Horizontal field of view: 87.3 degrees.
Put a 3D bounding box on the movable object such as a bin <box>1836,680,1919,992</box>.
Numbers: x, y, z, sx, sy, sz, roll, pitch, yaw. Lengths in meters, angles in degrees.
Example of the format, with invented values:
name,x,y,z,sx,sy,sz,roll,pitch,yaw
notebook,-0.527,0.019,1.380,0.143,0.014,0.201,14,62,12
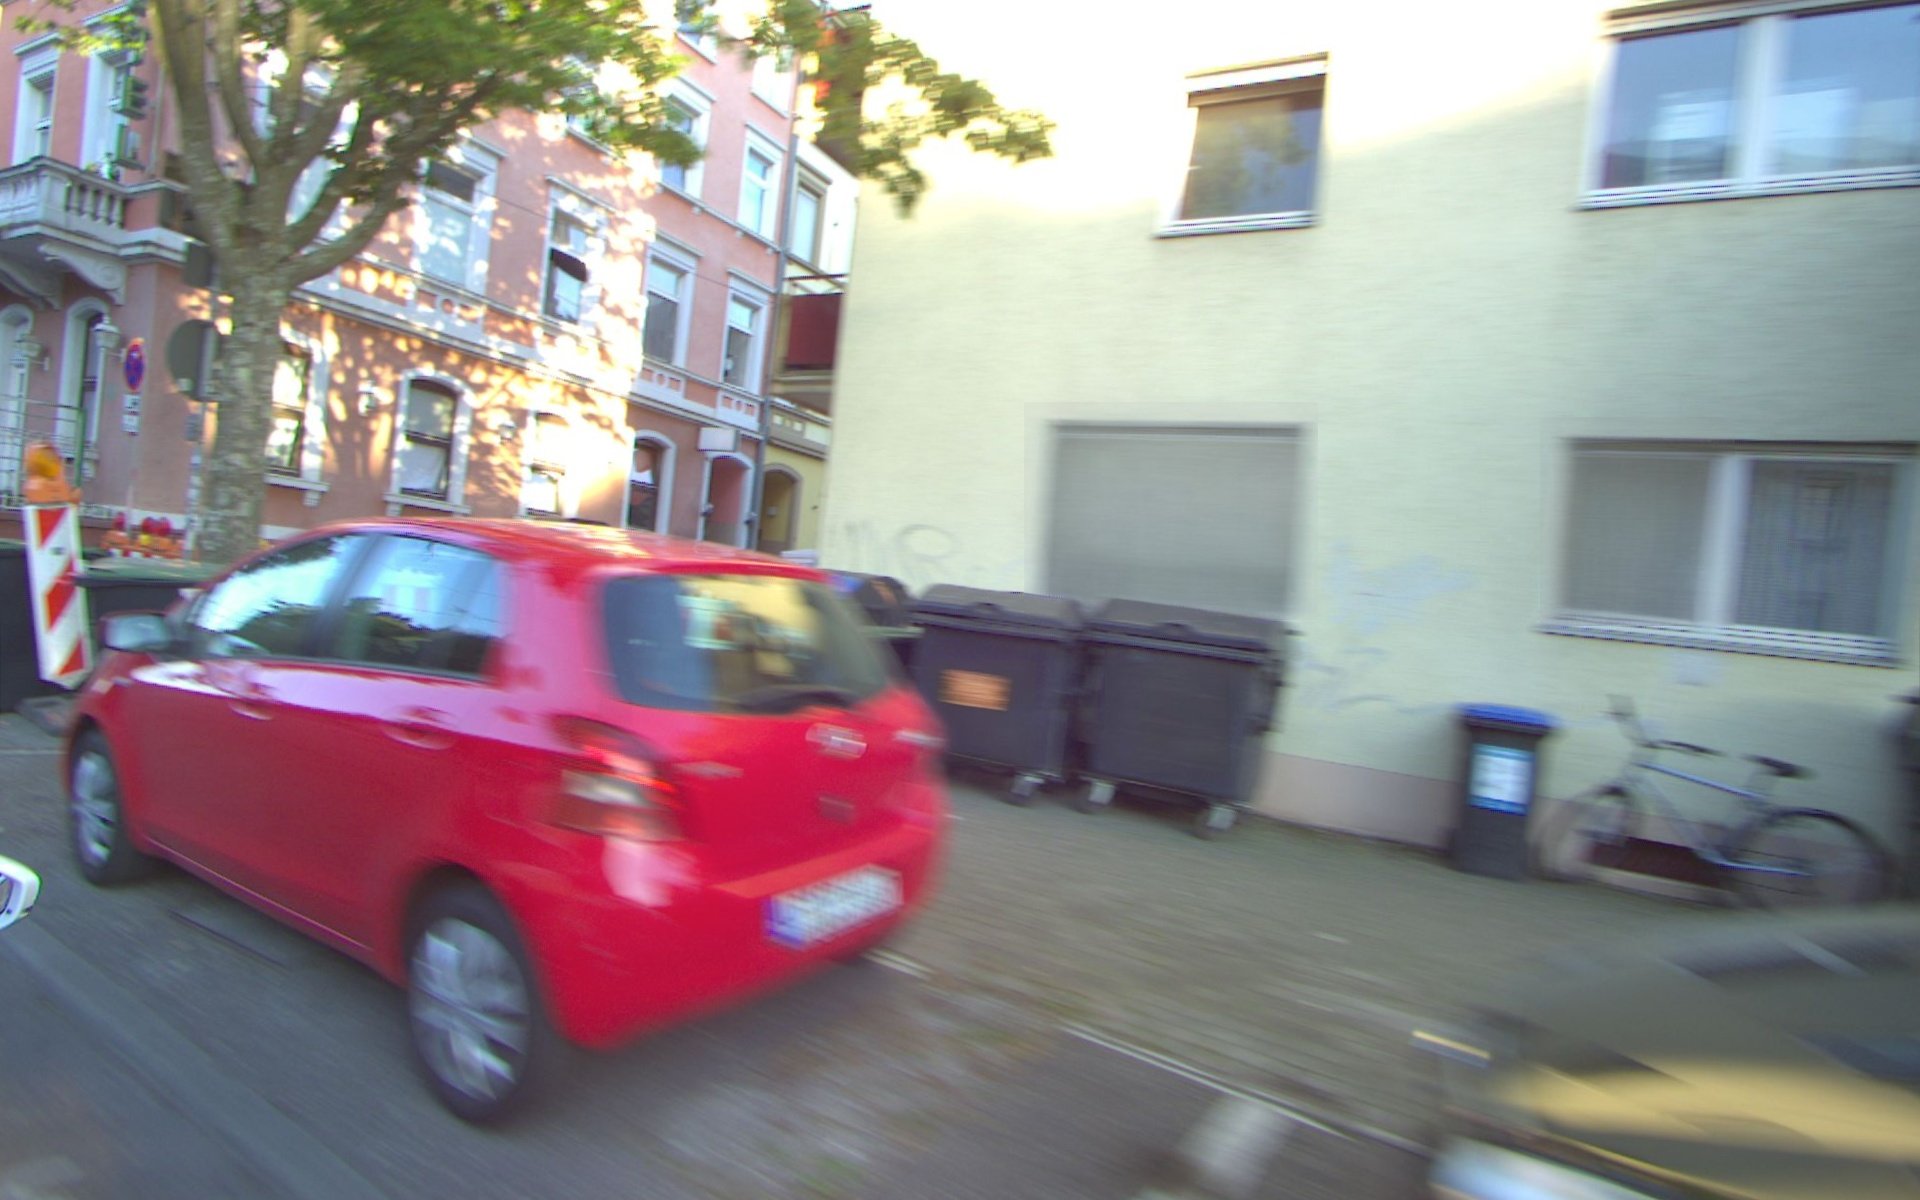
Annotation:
name,x,y,z,sx,sy,sz,roll,pitch,yaw
movable object such as a bin,5.618,1.261,5.063,1.456,1.520,1.115,7,0,27

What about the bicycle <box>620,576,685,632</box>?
name,x,y,z,sx,sy,sz,roll,pitch,yaw
bicycle,-6.862,0.077,22.409,1.373,1.089,0.463,7,3,28

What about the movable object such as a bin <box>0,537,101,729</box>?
name,x,y,z,sx,sy,sz,roll,pitch,yaw
movable object such as a bin,-6.067,0.197,6.427,0.580,1.168,0.712,7,0,40

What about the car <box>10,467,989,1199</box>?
name,x,y,z,sx,sy,sz,roll,pitch,yaw
car,-1.904,0.435,3.785,3.632,1.556,1.565,6,2,33

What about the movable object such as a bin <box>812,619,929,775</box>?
name,x,y,z,sx,sy,sz,roll,pitch,yaw
movable object such as a bin,-0.668,0.711,7.557,0.561,1.060,0.555,7,0,26

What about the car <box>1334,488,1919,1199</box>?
name,x,y,z,sx,sy,sz,roll,pitch,yaw
car,2.571,0.920,0.861,4.019,1.654,1.744,6,2,31

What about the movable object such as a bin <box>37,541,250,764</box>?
name,x,y,z,sx,sy,sz,roll,pitch,yaw
movable object such as a bin,-4.702,0.295,5.846,0.706,1.168,0.620,6,1,-20

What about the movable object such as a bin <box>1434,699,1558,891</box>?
name,x,y,z,sx,sy,sz,roll,pitch,yaw
movable object such as a bin,3.378,1.201,6.379,0.561,1.060,0.555,7,0,26

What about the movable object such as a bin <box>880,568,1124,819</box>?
name,x,y,z,sx,sy,sz,roll,pitch,yaw
movable object such as a bin,0.326,0.634,7.290,1.295,1.520,1.074,7,0,26

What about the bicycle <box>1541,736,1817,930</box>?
name,x,y,z,sx,sy,sz,roll,pitch,yaw
bicycle,4.285,1.369,6.077,1.203,0.875,0.414,7,1,22

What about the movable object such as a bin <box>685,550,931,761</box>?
name,x,y,z,sx,sy,sz,roll,pitch,yaw
movable object such as a bin,-1.283,0.448,8.623,1.570,1.520,1.143,7,0,27

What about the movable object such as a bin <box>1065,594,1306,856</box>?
name,x,y,z,sx,sy,sz,roll,pitch,yaw
movable object such as a bin,1.605,0.814,7.046,1.248,1.520,1.143,7,0,27
